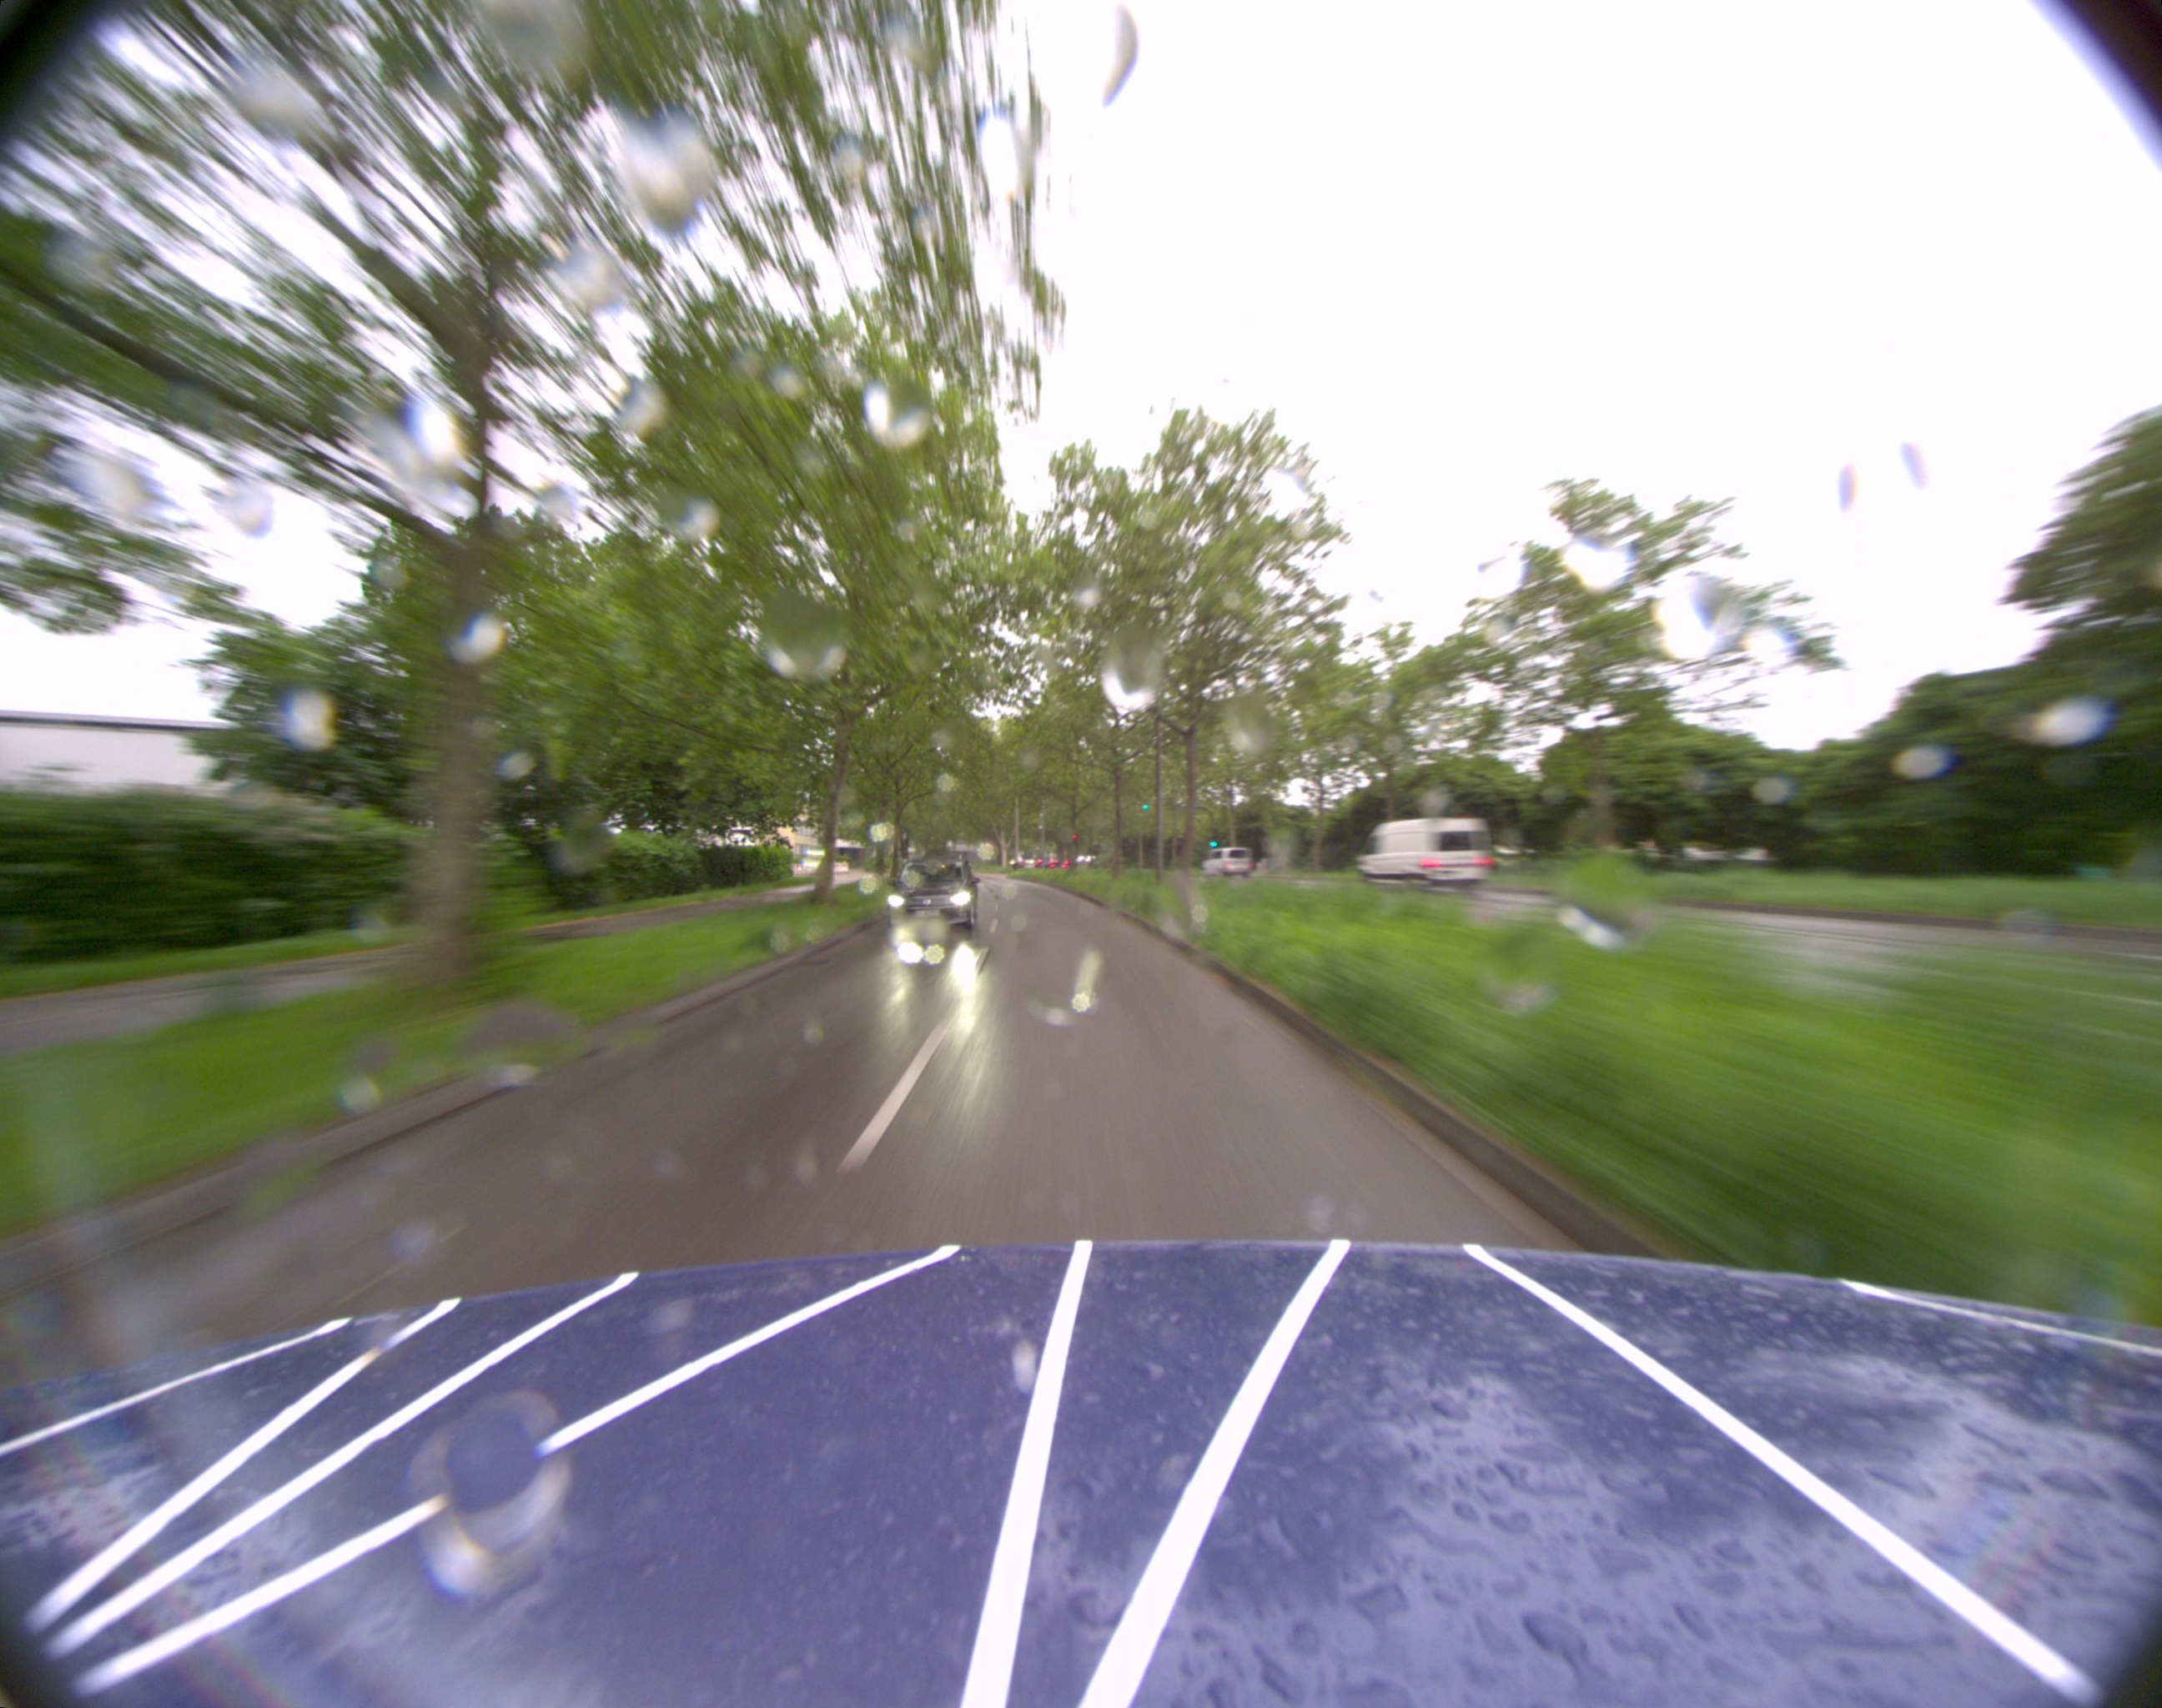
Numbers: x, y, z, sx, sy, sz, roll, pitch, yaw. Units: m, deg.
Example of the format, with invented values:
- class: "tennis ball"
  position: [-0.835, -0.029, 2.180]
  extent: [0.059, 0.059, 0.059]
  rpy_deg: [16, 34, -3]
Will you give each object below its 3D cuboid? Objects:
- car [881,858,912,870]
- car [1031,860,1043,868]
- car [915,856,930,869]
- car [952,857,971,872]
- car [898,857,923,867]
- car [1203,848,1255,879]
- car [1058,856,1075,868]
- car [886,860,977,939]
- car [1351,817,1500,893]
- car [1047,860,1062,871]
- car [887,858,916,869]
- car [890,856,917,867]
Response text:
- class: "car"
  position: [-25.152, 1.380, 103.508]
  extent: [4.001, 1.546, 1.783]
  rpy_deg: [0, 0, -12]
- class: "car"
  position: [-8.648, 1.920, 148.874]
  extent: [1.785, 1.546, 3.997]
  rpy_deg: [0, 0, -9]
- class: "car"
  position: [-19.415, 1.034, 93.206]
  extent: [1.786, 1.546, 3.996]
  rpy_deg: [0, 0, -11]
- class: "car"
  position: [-13.117, 1.125, 83.283]
  extent: [1.786, 1.546, 3.996]
  rpy_deg: [-1, -1, -12]
- class: "car"
  position: [-27.721, 1.305, 123.550]
  extent: [4.001, 1.546, 1.783]
  rpy_deg: [0, 0, -12]
- class: "car"
  position: [9.669, 0.576, 50.147]
  extent: [1.940, 1.929, 5.195]
  rpy_deg: [0, 0, -6]
- class: "car"
  position: [-1.947, 1.108, 103.788]
  extent: [1.785, 1.546, 3.997]
  rpy_deg: [0, 0, -9]
- class: "car"
  position: [-3.340, 0.935, 17.532]
  extent: [1.785, 1.546, 3.997]
  rpy_deg: [-2, 0, -8]
- class: "car"
  position: [12.165, 0.054, 27.486]
  extent: [2.284, 2.412, 6.358]
  rpy_deg: [0, 0, -2]
- class: "car"
  position: [-3.982, 1.741, 115.271]
  extent: [1.785, 1.546, 3.997]
  rpy_deg: [0, 0, -9]
- class: "car"
  position: [-25.725, 1.354, 108.999]
  extent: [4.001, 1.546, 1.783]
  rpy_deg: [0, 0, -12]
- class: "car"
  position: [-26.703, 1.098, 114.450]
  extent: [4.001, 1.546, 1.783]
  rpy_deg: [0, 0, -12]
